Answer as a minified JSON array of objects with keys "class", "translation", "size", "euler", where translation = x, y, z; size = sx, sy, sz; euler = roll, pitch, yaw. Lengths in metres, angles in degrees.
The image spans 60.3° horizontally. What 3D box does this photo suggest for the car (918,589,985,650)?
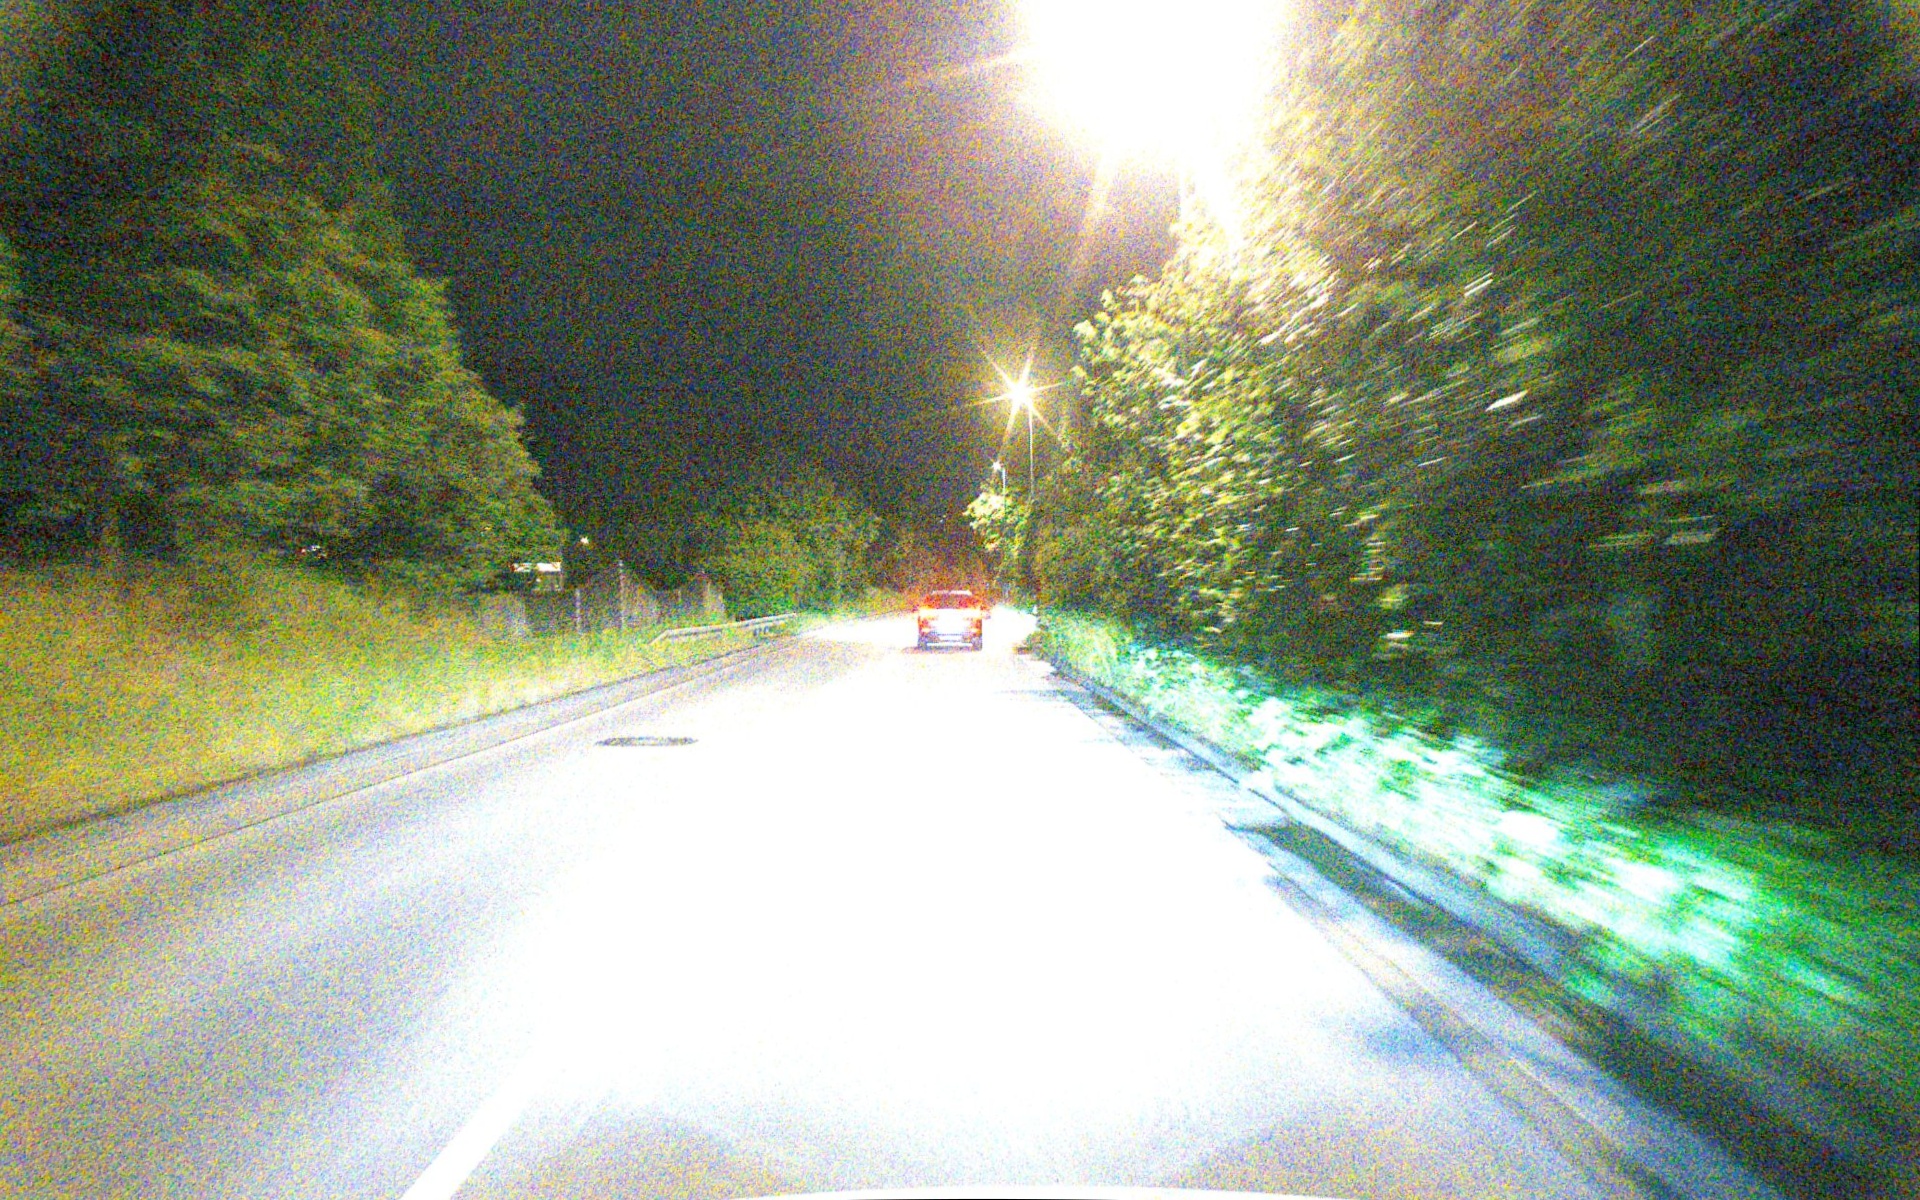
[{"class":"car","translation":[-0.237,0.520,45.988],"size":[1.777,1.601,3.943],"euler":[-1,0,0]}]
